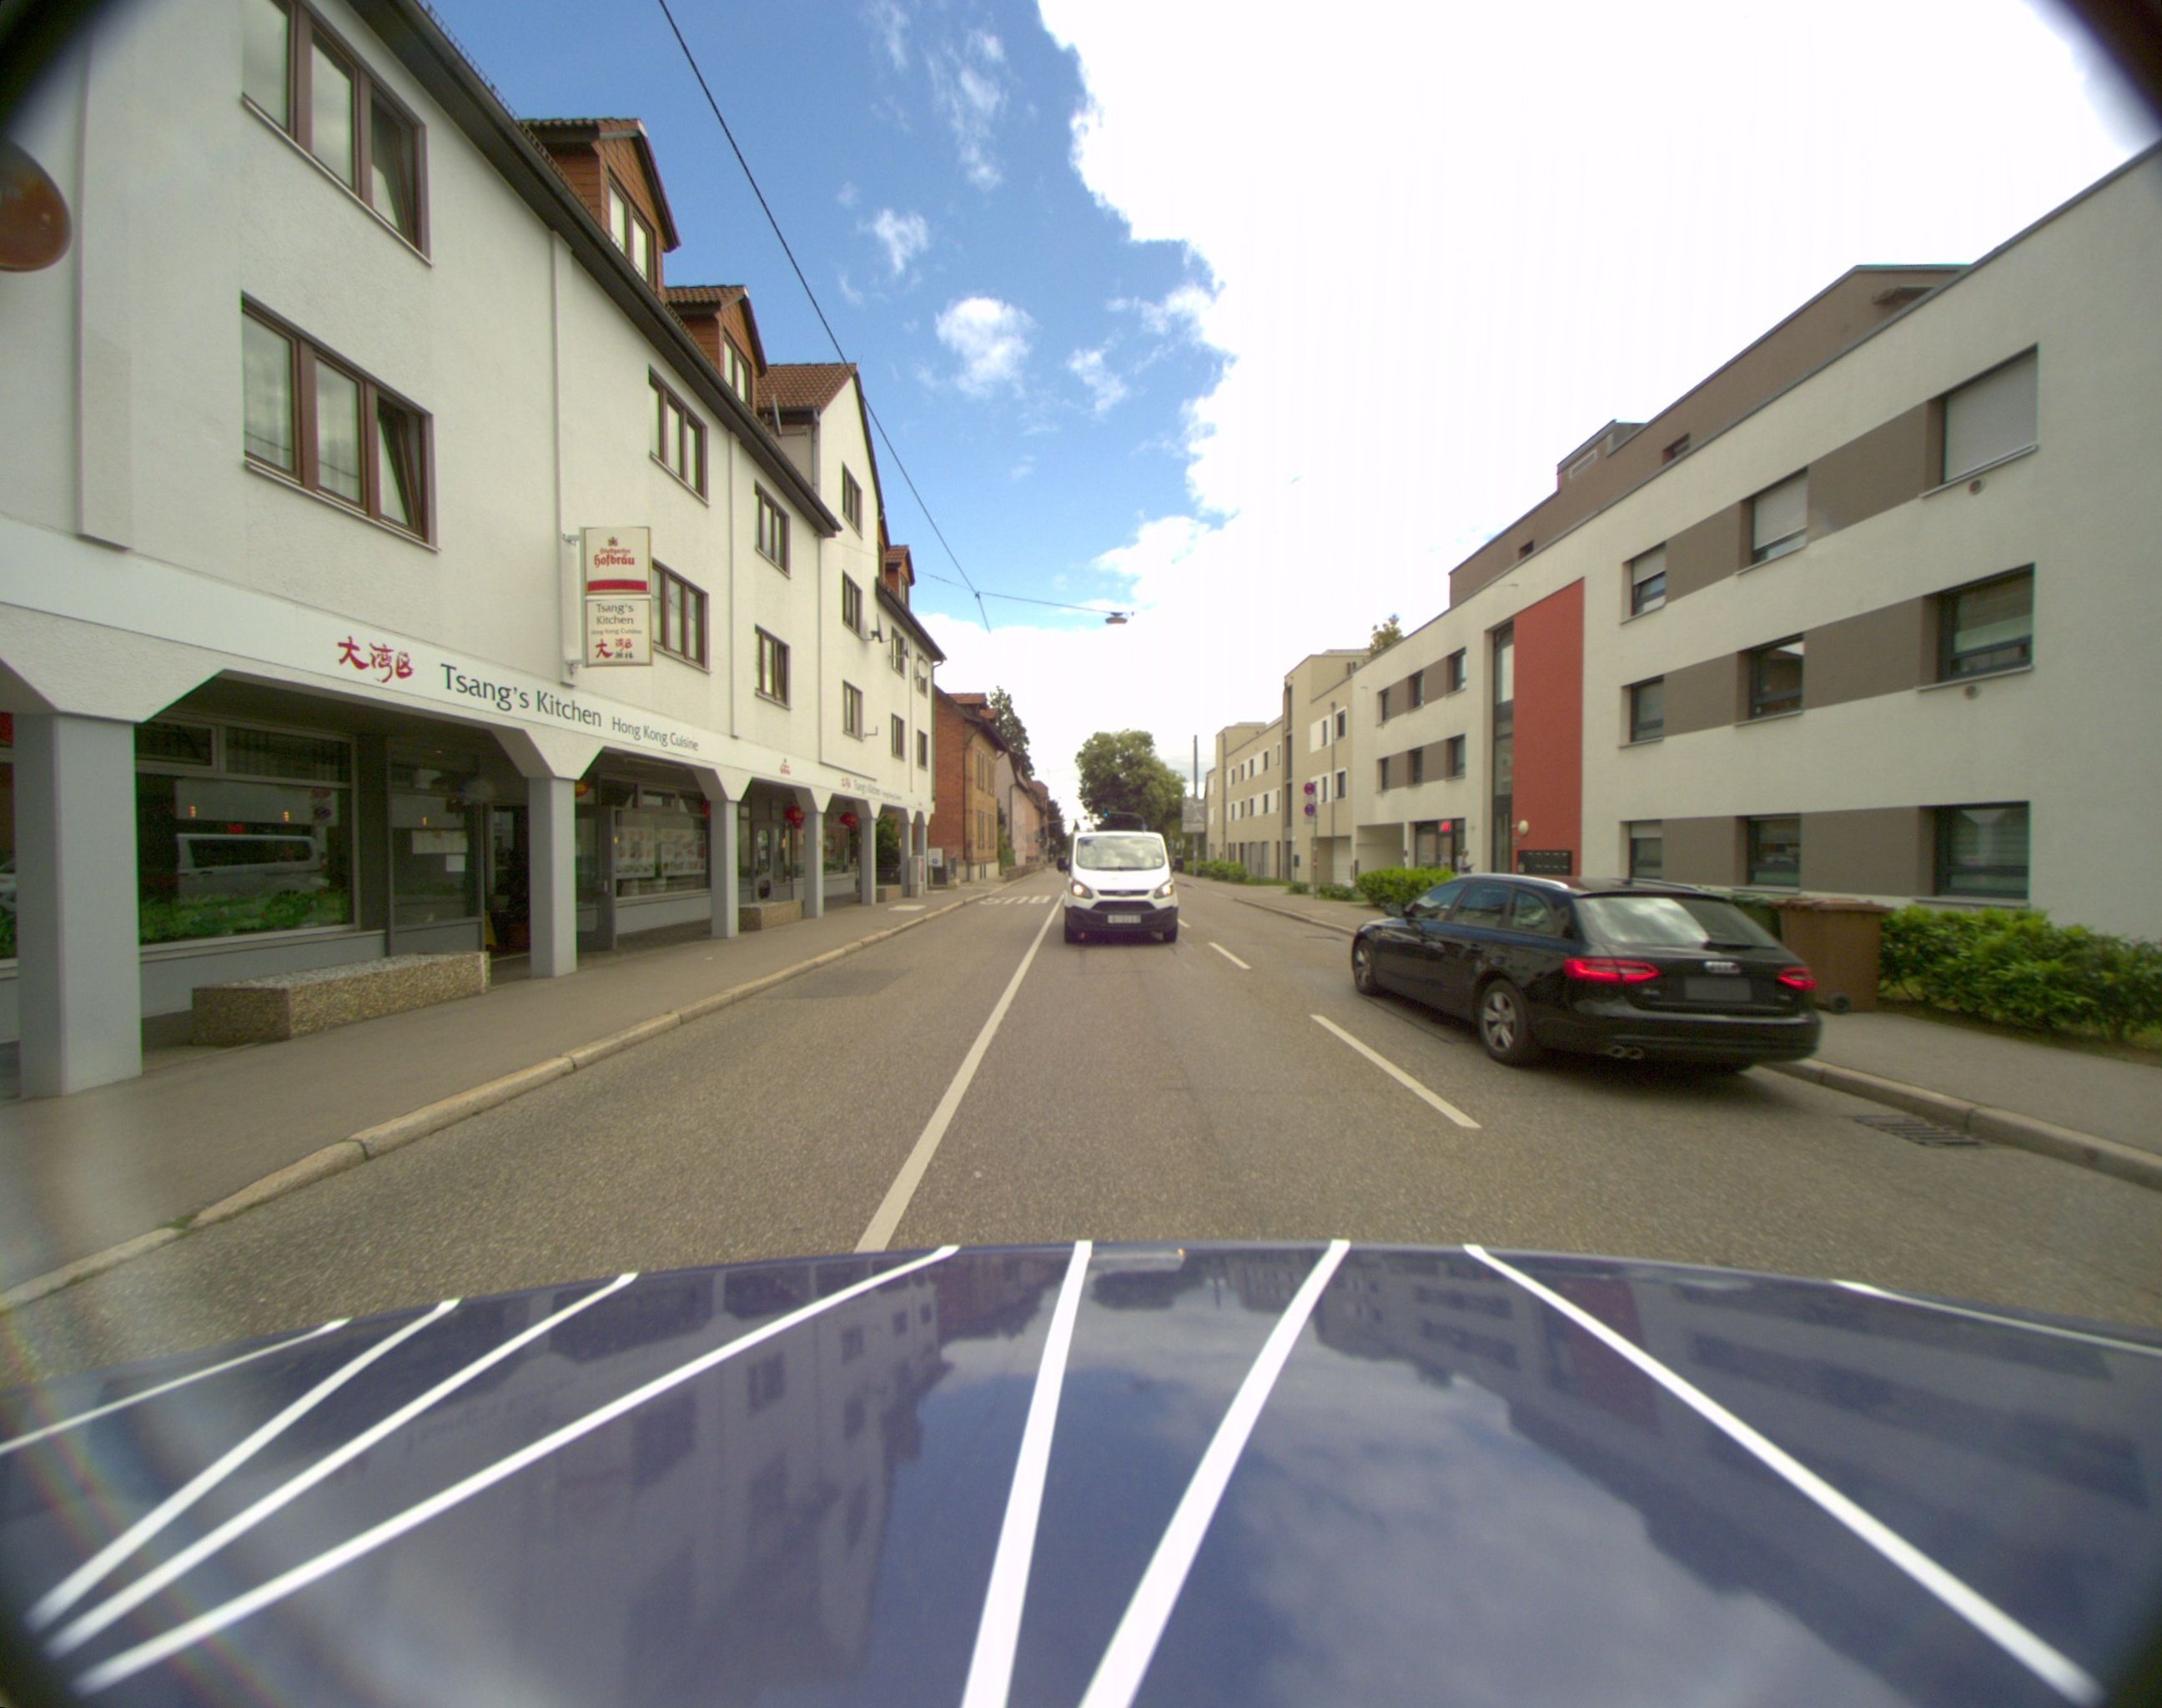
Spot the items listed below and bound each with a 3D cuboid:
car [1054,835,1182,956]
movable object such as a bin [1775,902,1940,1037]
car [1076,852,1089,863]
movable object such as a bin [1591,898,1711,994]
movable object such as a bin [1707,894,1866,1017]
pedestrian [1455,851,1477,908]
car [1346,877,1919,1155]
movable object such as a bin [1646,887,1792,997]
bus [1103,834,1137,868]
[{"bbox_3d":[0.604,0.664,14.840,2.062,1.945,5.060,0,0,0],"label":"car"},{"bbox_3d":[7.227,1.051,7.104,0.943,1.144,0.612,-1,1,-4],"label":"movable object such as a bin"},{"bbox_3d":[0.213,0.473,102.302,1.755,1.485,3.985,0,0,0],"label":"car"},{"bbox_3d":[7.083,1.118,9.478,0.897,1.083,0.792,-1,1,-4],"label":"movable object such as a bin"},{"bbox_3d":[7.220,1.012,7.818,0.951,1.144,0.749,-1,1,-4],"label":"movable object such as a bin"},{"bbox_3d":[11.174,0.731,22.059,0.519,1.633,0.641,0,1,22],"label":"pedestrian"},{"bbox_3d":[3.996,1.028,6.604,1.883,1.442,4.213,2,0,0],"label":"car"},{"bbox_3d":[7.214,0.968,8.642,0.959,1.144,0.840,-1,1,-4],"label":"movable object such as a bin"},{"bbox_3d":[3.905,-0.290,79.039,2.950,3.255,12.007,1,0,1],"label":"bus"}]
